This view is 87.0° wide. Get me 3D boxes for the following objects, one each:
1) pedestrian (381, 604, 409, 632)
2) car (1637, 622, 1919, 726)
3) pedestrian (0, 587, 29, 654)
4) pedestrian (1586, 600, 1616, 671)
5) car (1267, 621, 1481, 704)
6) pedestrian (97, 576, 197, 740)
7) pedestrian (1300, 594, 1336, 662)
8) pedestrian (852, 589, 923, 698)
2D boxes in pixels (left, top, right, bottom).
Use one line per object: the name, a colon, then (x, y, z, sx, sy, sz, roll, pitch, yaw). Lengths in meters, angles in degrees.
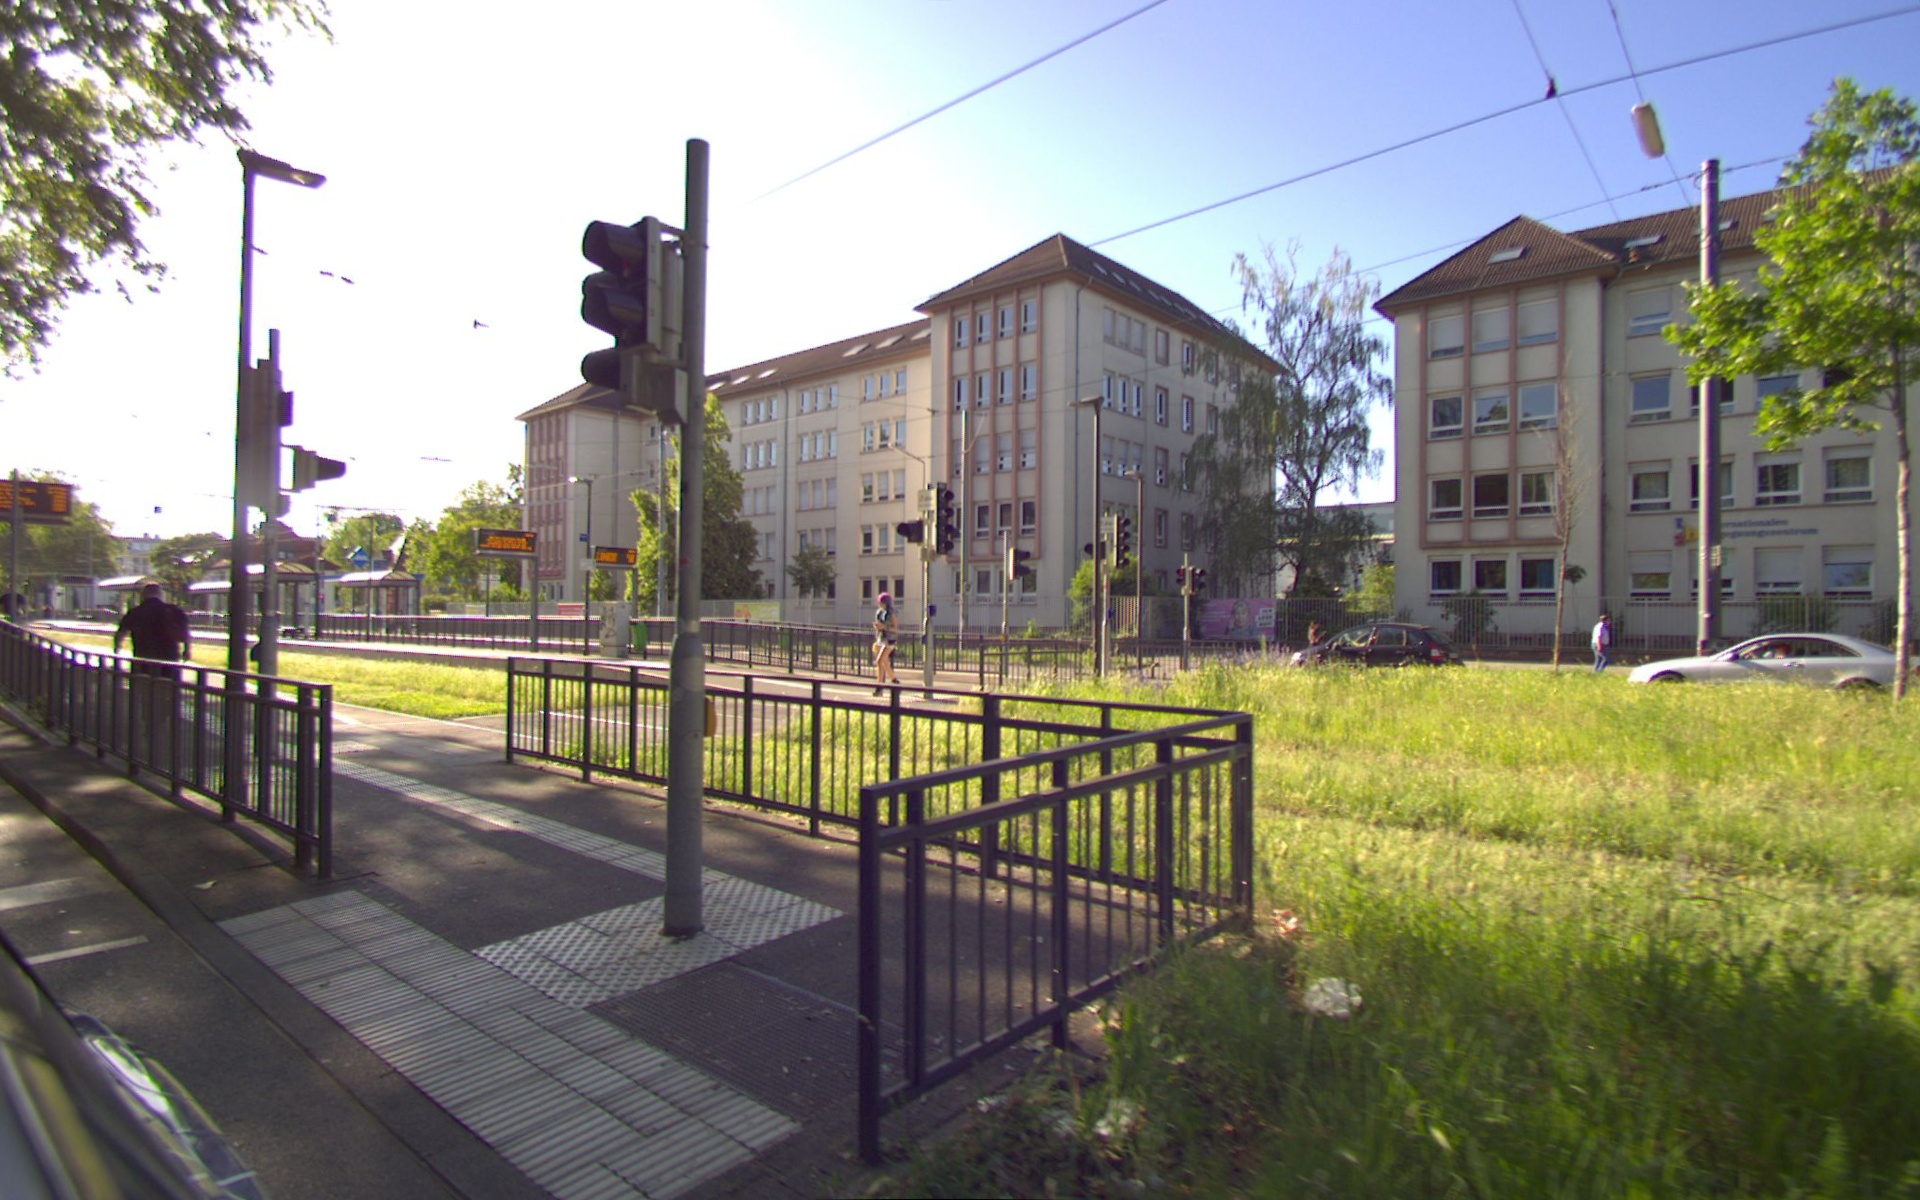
pedestrian: (-27.802, 0.892, 49.837, 0.878, 1.386, 0.965, -1, -1, 40)
car: (14.800, 1.218, 17.835, 1.744, 1.635, 4.480, 1, -2, -43)
pedestrian: (-25.887, 0.546, 27.605, 0.754, 1.797, 0.674, -1, -1, 42)
pedestrian: (16.996, 0.939, 26.829, 0.572, 1.851, 0.685, -1, -2, 40)
car: (9.478, 1.350, 23.378, 4.151, 1.720, 1.971, -1, -2, 45)
pedestrian: (-8.817, 0.608, 10.977, 0.772, 1.693, 0.705, -1, -1, 40)
pedestrian: (10.879, 0.854, 30.757, 0.860, 2.029, 0.656, -1, -2, 40)
pedestrian: (-1.204, 0.706, 16.873, 0.730, 1.749, 0.942, -1, -2, 43)
